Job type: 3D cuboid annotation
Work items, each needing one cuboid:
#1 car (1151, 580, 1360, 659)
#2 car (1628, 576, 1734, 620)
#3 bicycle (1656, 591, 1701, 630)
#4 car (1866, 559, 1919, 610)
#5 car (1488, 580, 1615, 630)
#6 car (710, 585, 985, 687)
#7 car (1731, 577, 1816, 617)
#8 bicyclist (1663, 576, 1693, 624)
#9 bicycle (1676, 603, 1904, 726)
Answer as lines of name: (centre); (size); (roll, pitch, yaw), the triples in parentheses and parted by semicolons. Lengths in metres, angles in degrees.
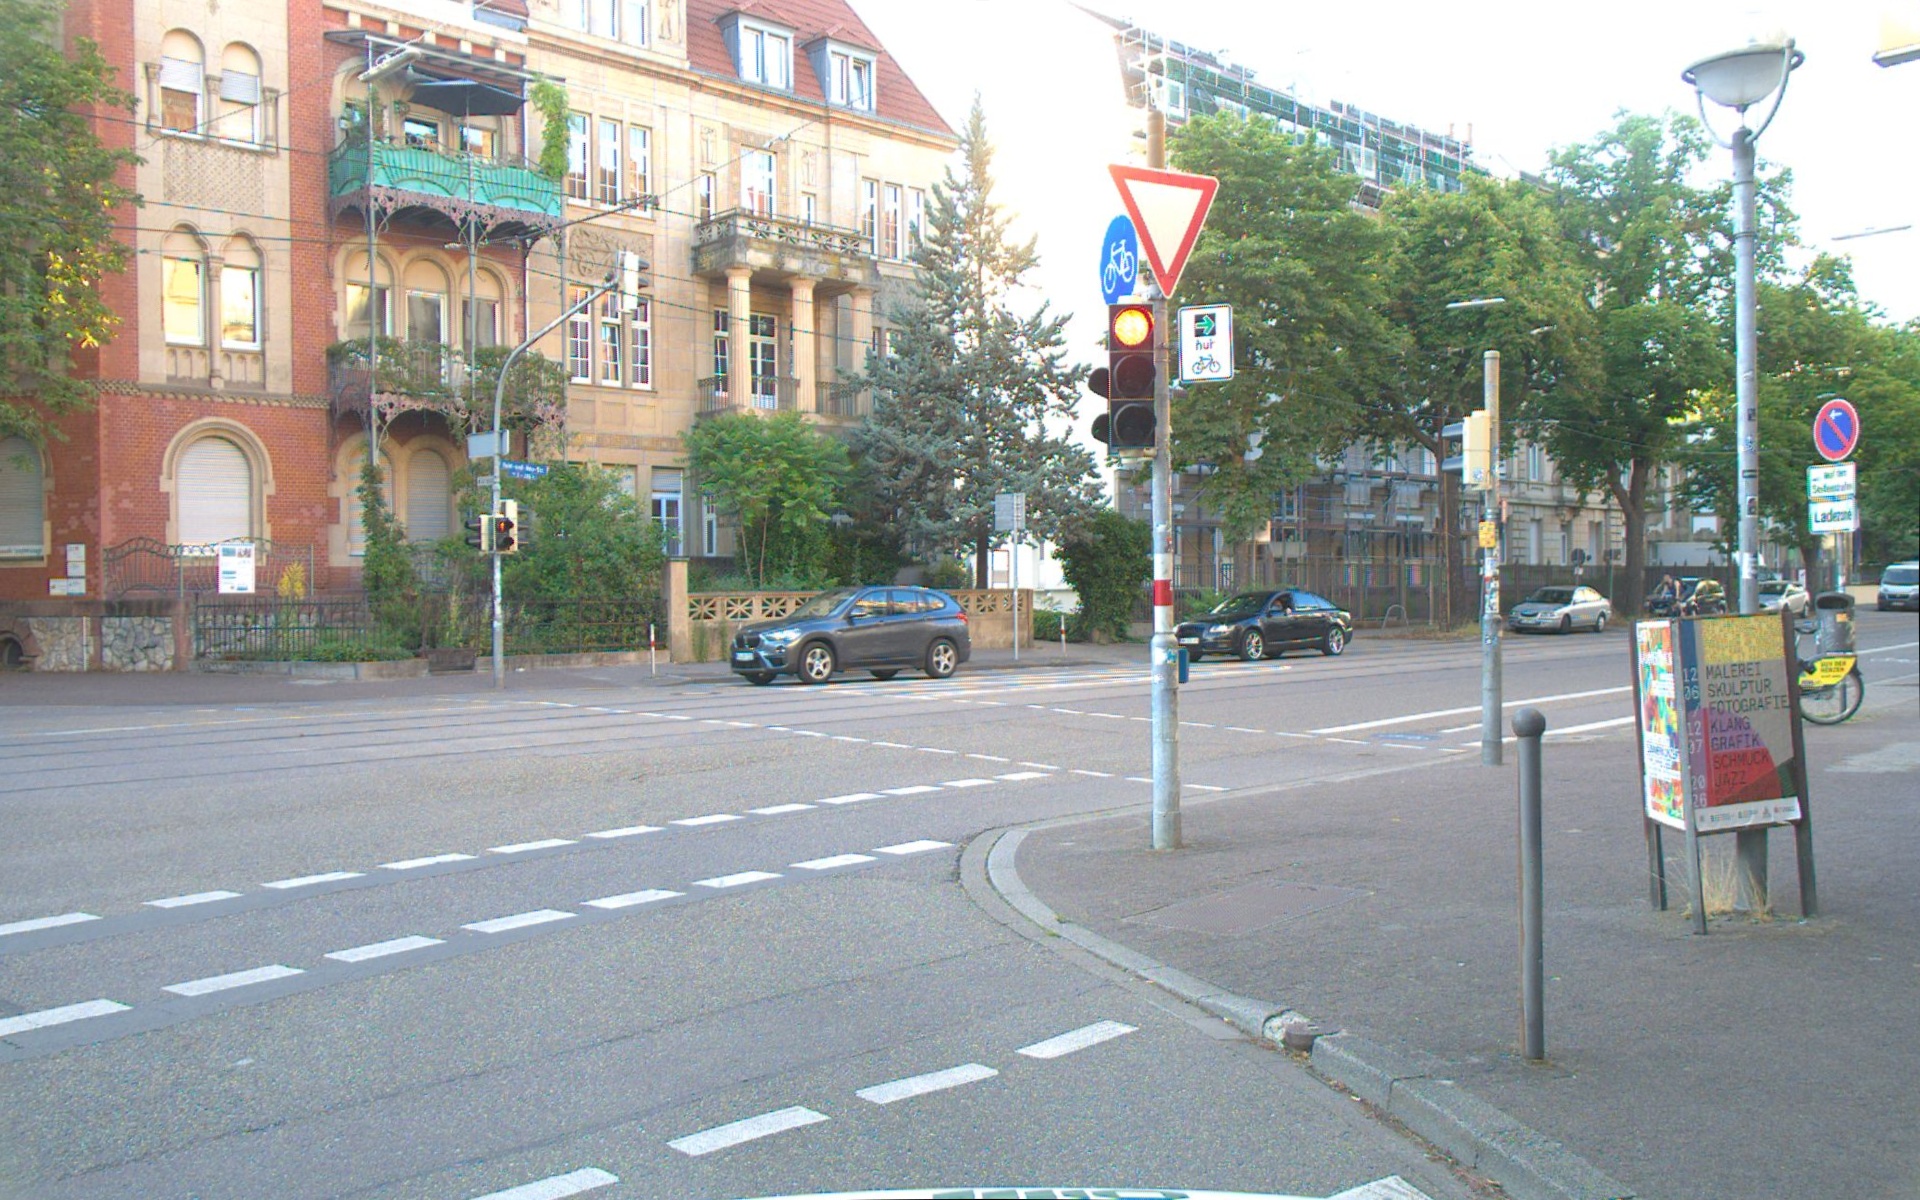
car: (6.304, 0.373, 35.010); (4.591, 1.536, 1.921); (-1, 0, -41)
car: (25.830, -0.092, 59.187); (4.131, 1.508, 1.921); (-1, 0, -41)
bicycle: (22.125, 0.315, 50.916); (1.591, 1.168, 0.547); (-1, 0, -38)
car: (44.902, -0.763, 78.616); (4.595, 2.356, 1.919); (-1, 0, -43)
car: (18.609, 0.139, 51.936); (1.977, 1.451, 4.599); (-1, 0, 45)
car: (-1.834, 0.550, 27.865); (4.380, 1.536, 1.921); (-1, 0, -41)
car: (32.283, -0.140, 65.582); (1.916, 1.508, 4.293); (-1, 0, 43)
bicyclist: (22.118, -0.010, 50.922); (0.729, 1.453, 0.547); (-1, 0, -38)
bicycle: (8.016, 0.618, 16.054); (1.832, 1.150, 0.732); (-1, 0, 10)
